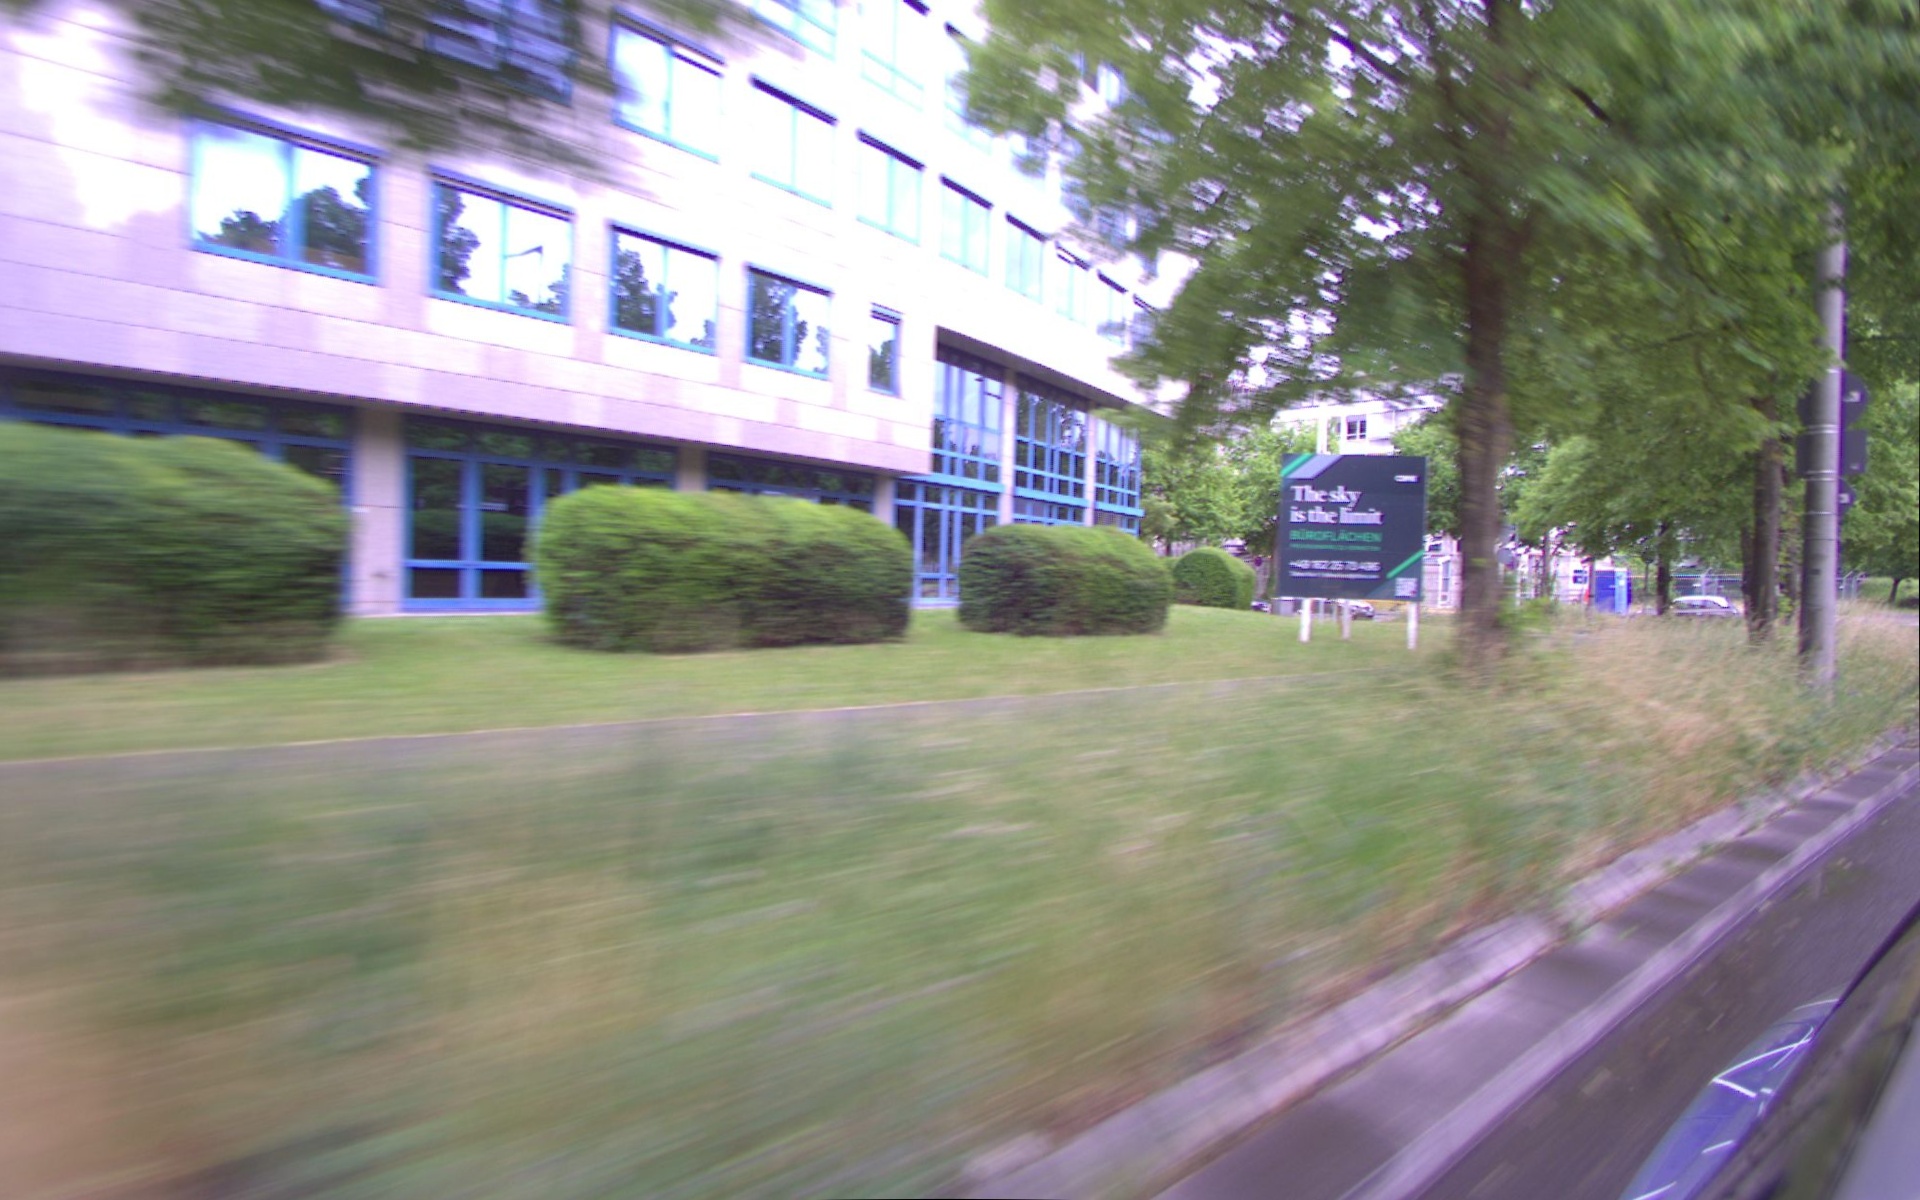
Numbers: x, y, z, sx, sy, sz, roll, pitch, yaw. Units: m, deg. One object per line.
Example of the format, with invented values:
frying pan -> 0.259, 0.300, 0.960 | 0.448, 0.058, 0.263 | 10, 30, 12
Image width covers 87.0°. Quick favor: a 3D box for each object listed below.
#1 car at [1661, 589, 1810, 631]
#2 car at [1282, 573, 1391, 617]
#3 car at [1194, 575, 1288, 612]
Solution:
car -> 29.564, 0.348, 38.769 | 4.401, 1.451, 1.690 | 1, 1, 36
car -> 16.009, -0.241, 43.214 | 1.723, 1.662, 4.114 | 2, 0, -32
car -> 13.175, -0.324, 47.675 | 1.723, 1.598, 4.114 | 2, 0, -32
